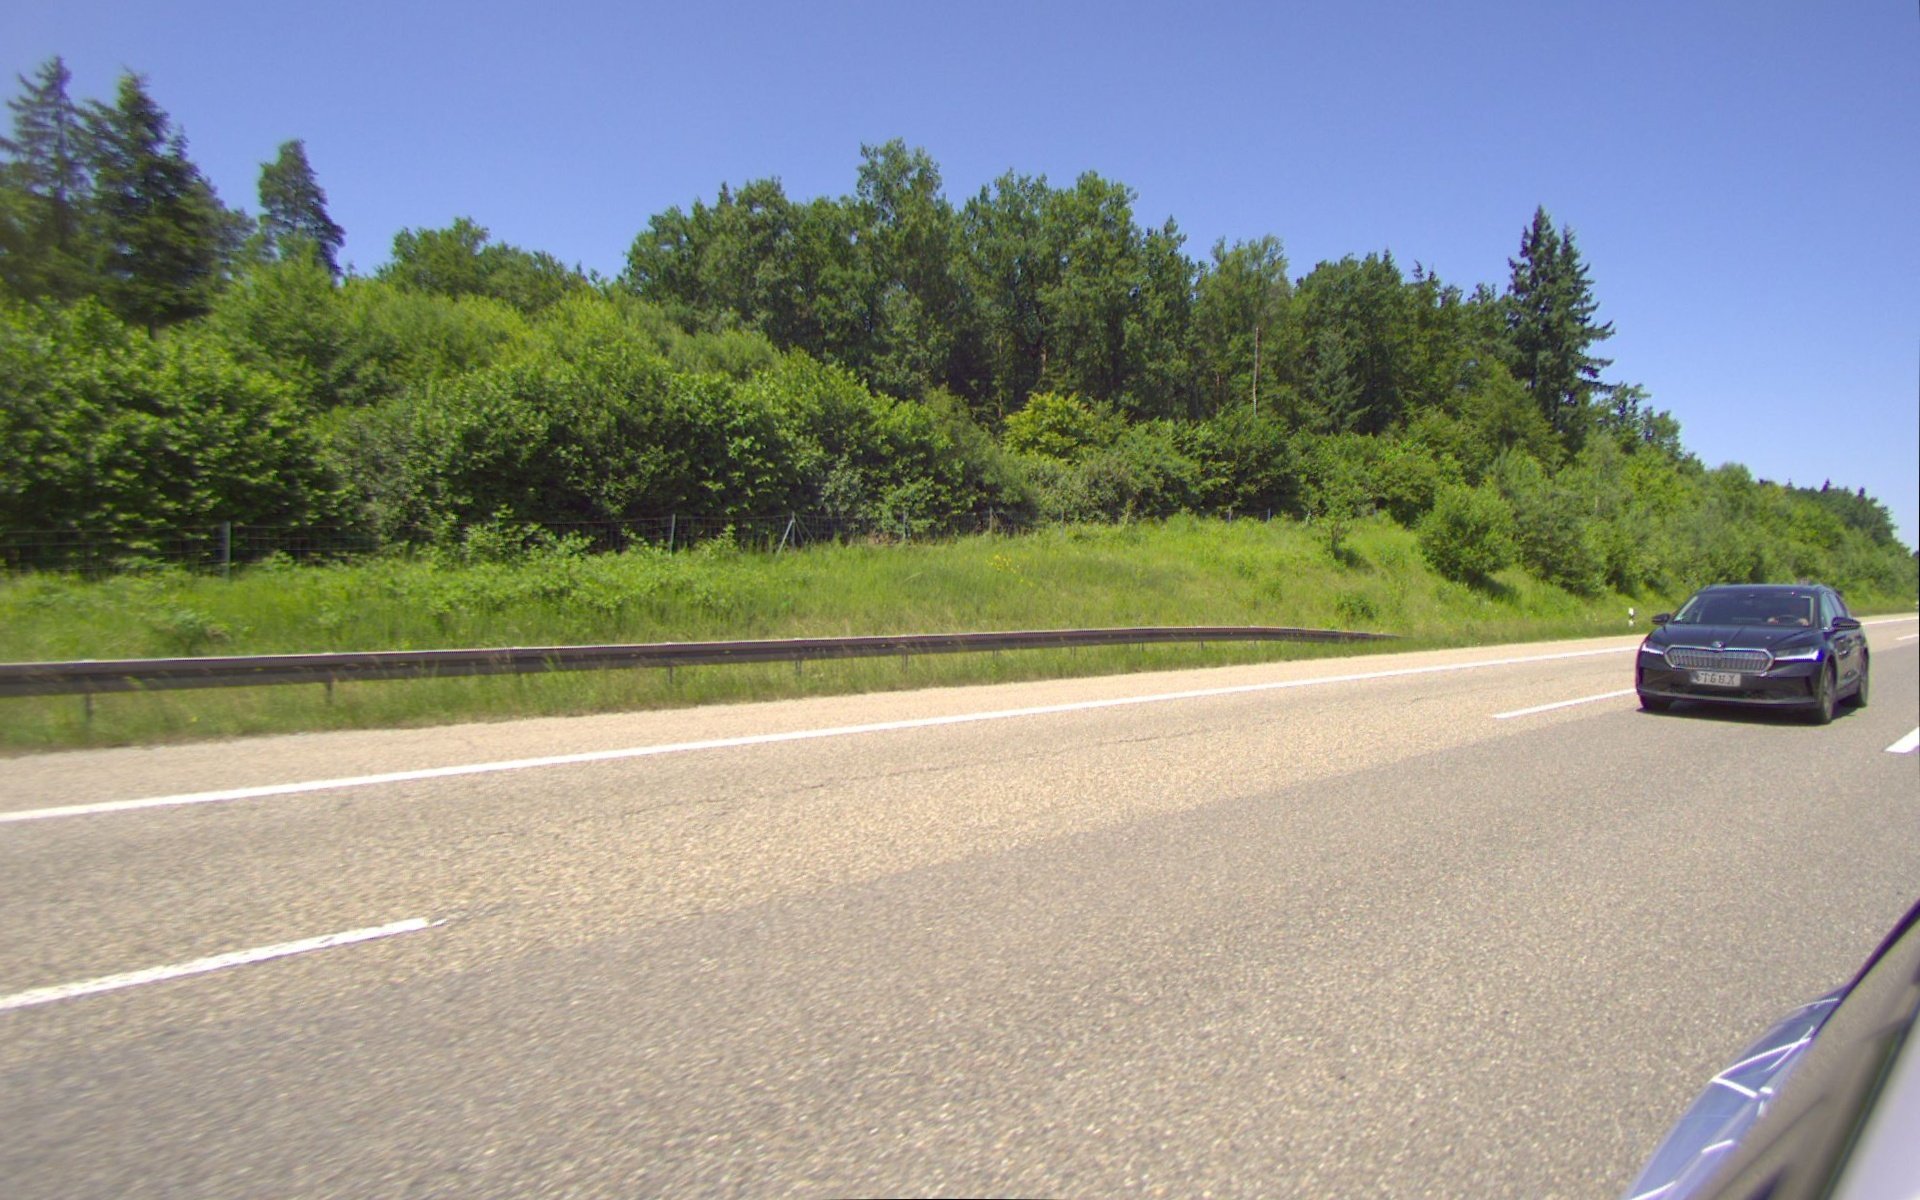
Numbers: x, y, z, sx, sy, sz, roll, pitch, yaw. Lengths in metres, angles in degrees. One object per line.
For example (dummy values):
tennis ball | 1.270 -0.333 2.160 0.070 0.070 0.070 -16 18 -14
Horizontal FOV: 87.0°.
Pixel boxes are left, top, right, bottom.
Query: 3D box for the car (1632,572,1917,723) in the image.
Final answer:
car | 10.637 0.492 13.112 4.376 1.639 1.989 0 1 -39
